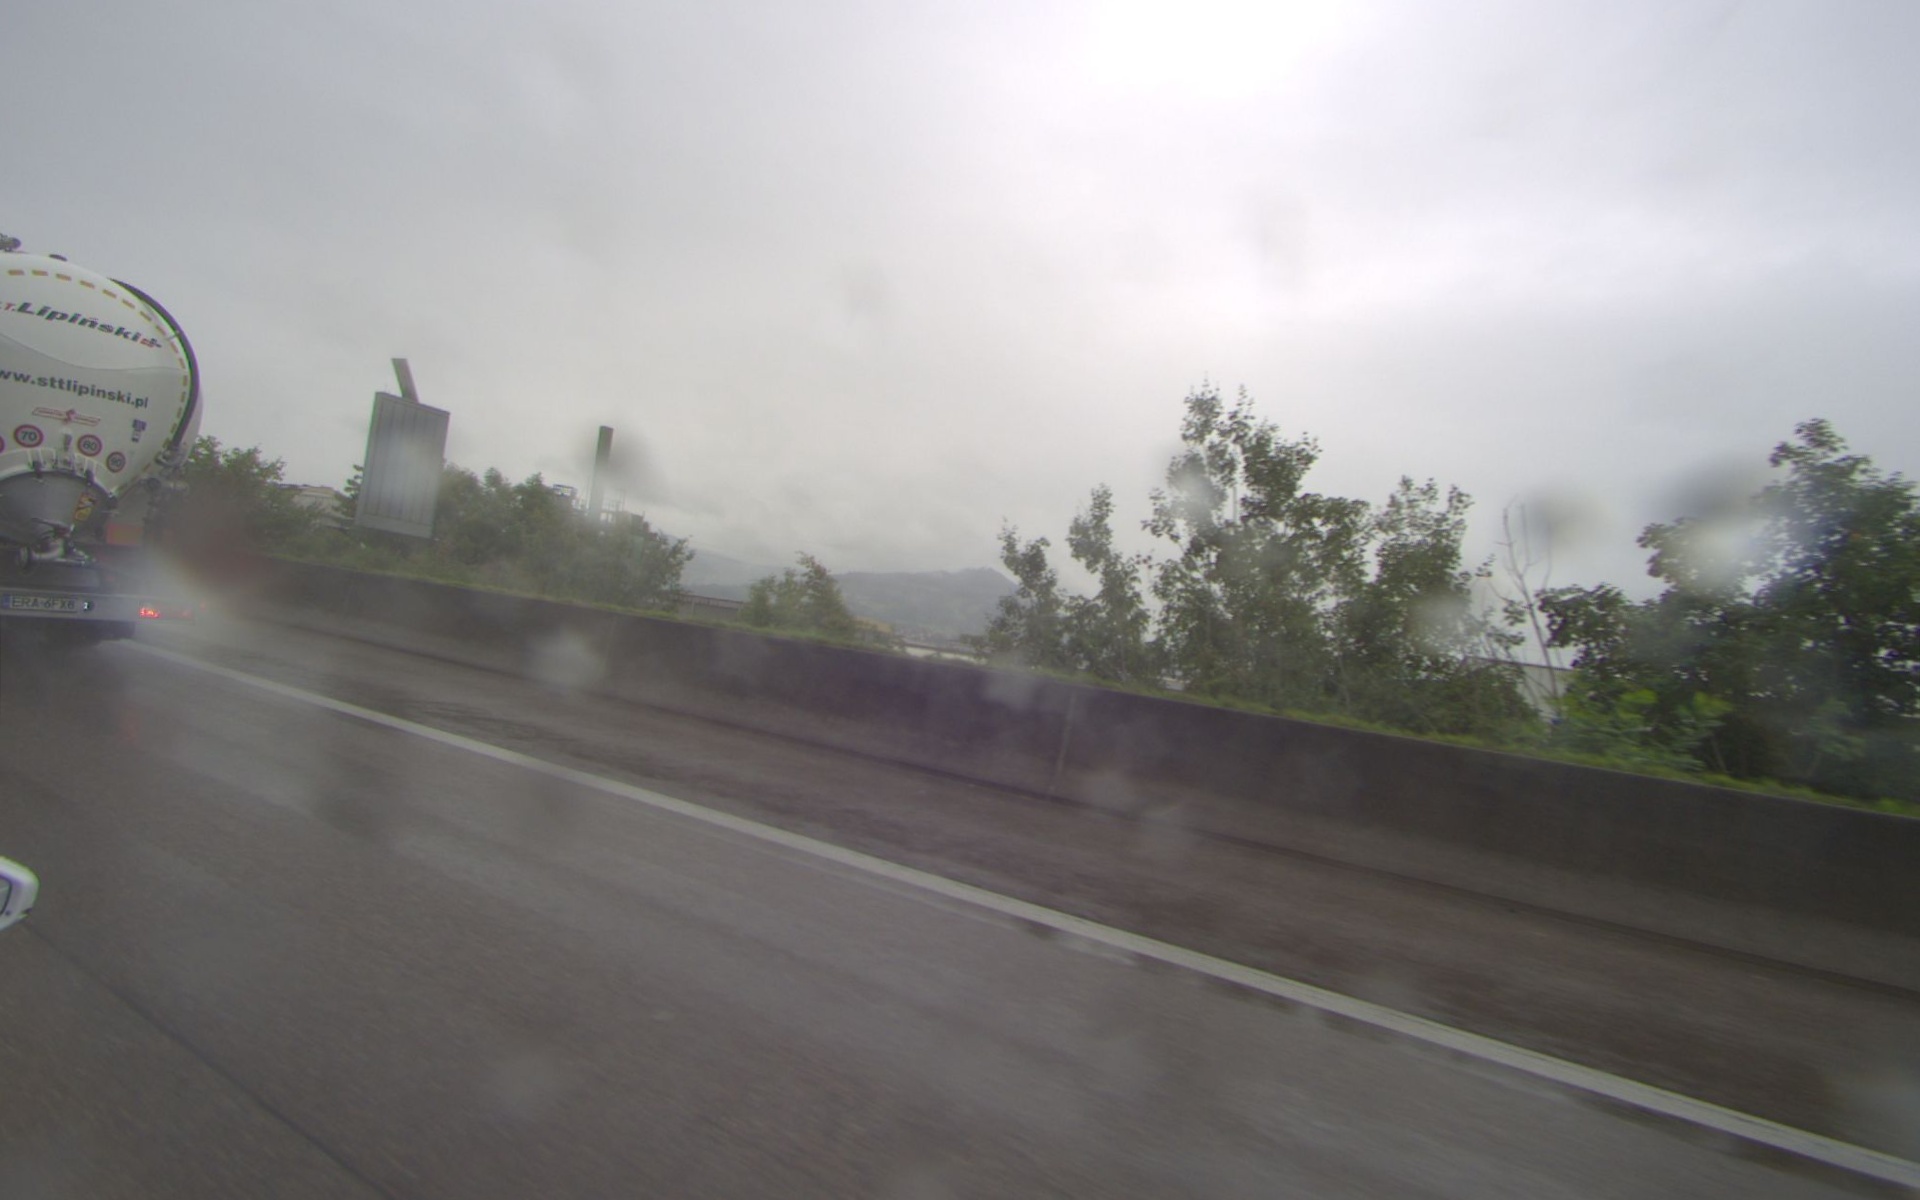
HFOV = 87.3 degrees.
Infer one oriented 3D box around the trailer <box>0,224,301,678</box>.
[{"bbox_3d":[-12.658,-1.783,11.956,11.472,3.713,3.194,7,-1,32],"label":"trailer"}]
